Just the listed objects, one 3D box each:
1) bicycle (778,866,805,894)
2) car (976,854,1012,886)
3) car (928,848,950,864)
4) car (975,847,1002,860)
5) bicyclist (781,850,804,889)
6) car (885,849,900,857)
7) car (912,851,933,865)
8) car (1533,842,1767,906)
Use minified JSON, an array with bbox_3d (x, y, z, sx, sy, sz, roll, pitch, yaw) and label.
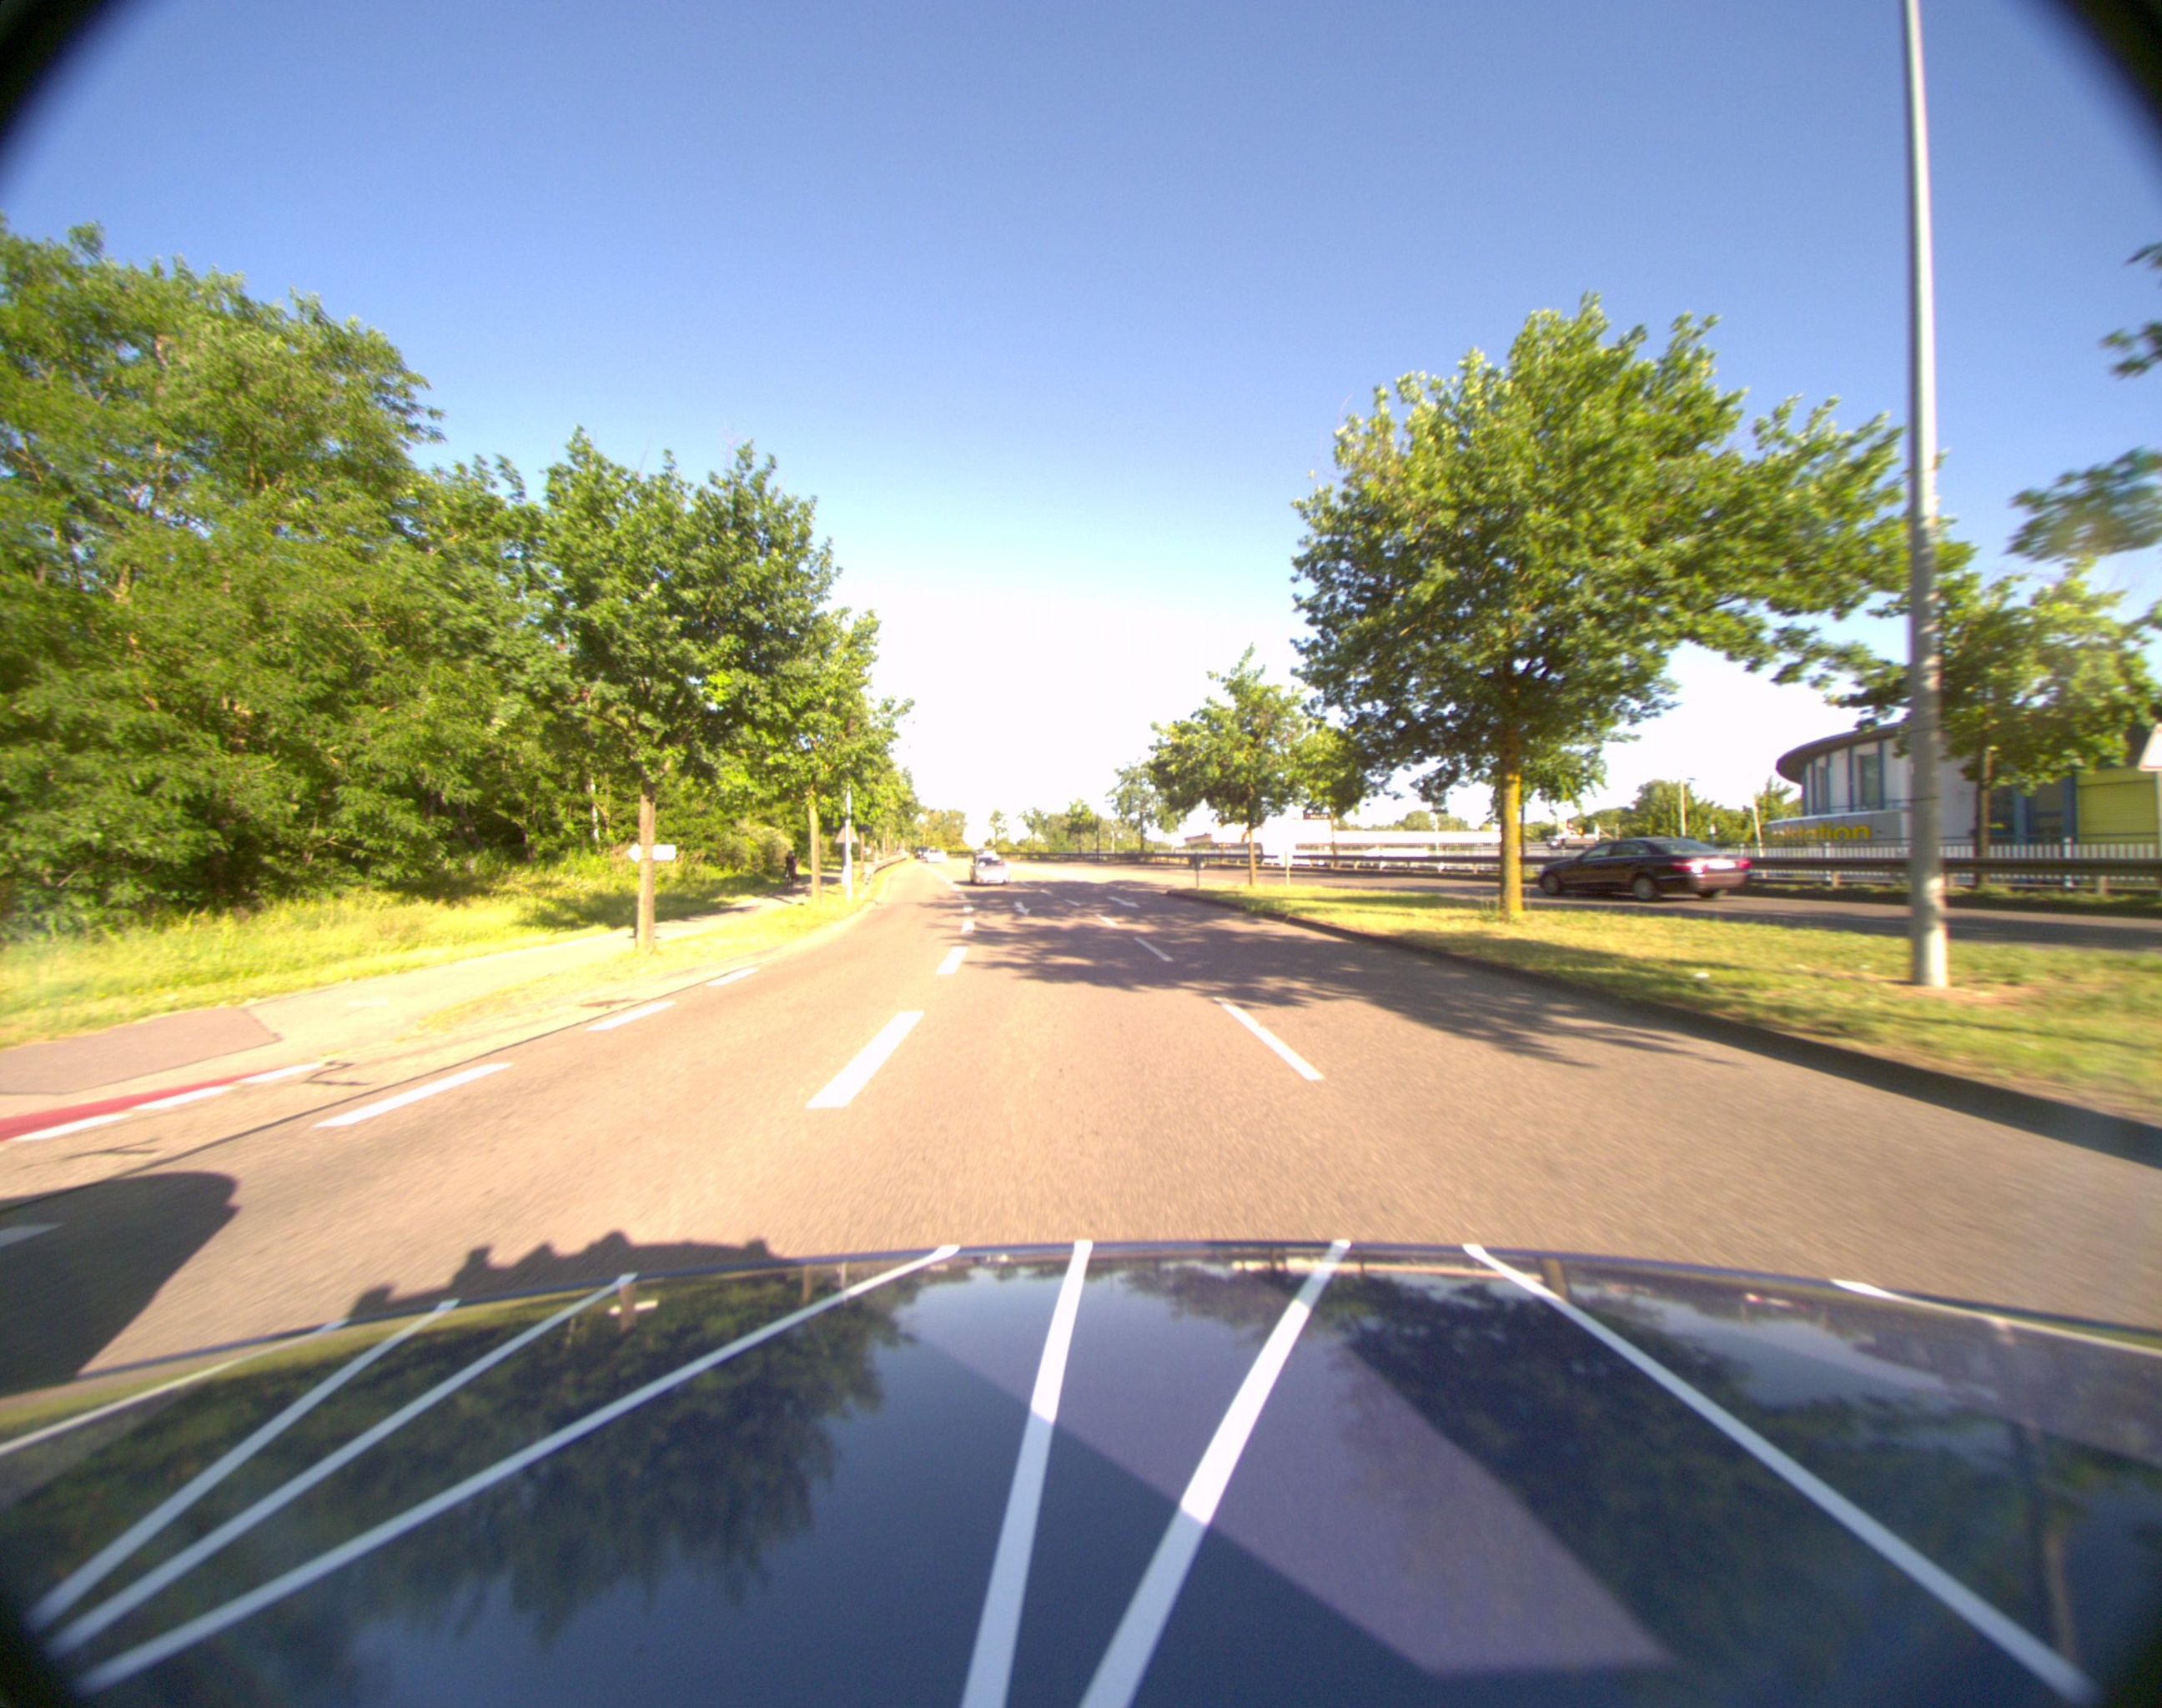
[{"bbox_3d":[-11.909,1.057,31.313,0.703,1.068,1.919,1,0,-11],"label":"bicycle"},{"bbox_3d":[-4.310,0.738,37.819,1.684,1.433,3.856,-1,1,-6],"label":"car"},{"bbox_3d":[-14.889,0.206,79.861,2.152,1.558,4.194,2,0,-11],"label":"car"},{"bbox_3d":[-10.839,-0.074,88.384,1.737,1.378,4.486,-2,1,-25],"label":"car"},{"bbox_3d":[-11.905,0.639,31.328,0.710,1.569,1.003,1,1,-11],"label":"bicyclist"},{"bbox_3d":[-36.563,-0.159,147.306,1.770,1.480,4.267,-2,2,-26],"label":"car"},{"bbox_3d":[-19.961,0.488,95.539,2.002,1.707,4.265,-1,0,-19],"label":"car"},{"bbox_3d":[13.417,0.417,18.353,1.805,1.302,4.612,-2,0,-8],"label":"car"}]
